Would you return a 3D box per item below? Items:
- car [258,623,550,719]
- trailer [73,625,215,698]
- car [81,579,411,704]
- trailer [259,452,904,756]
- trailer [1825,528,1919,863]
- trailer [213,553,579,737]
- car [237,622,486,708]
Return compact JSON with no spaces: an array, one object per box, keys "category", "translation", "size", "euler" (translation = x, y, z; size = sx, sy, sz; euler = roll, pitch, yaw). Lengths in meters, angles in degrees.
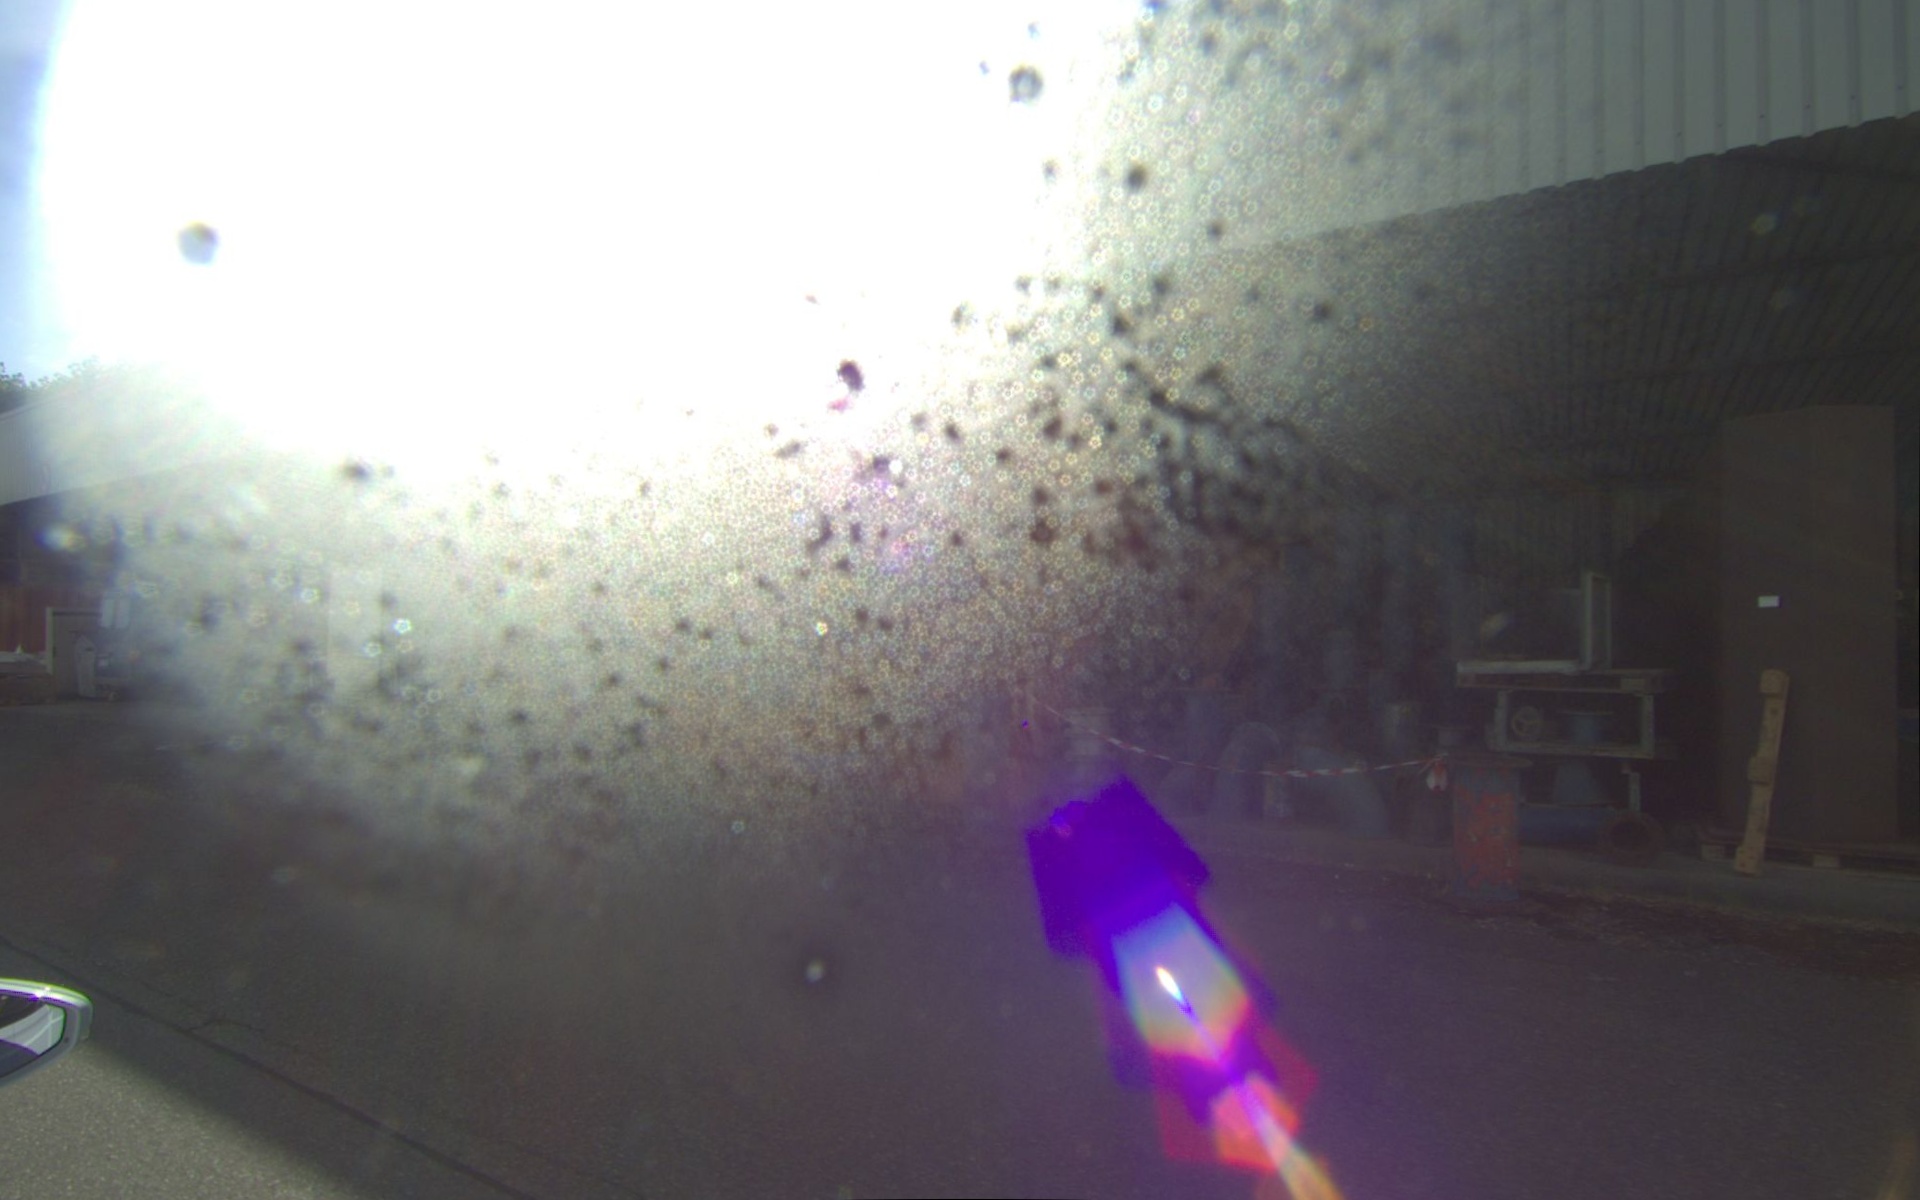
[{"category":"car","translation":[-9.772,1.205,17.968],"size":[1.841,1.490,4.246],"euler":[0,-2,29]},{"category":"trailer","translation":[-17.691,1.295,21.747],"size":[1.715,1.485,2.032],"euler":[-1,-1,36]},{"category":"car","translation":[-14.923,0.892,21.334],"size":[2.121,2.309,5.326],"euler":[-1,-3,31]},{"category":"trailer","translation":[-4.984,0.173,16.253],"size":[2.761,3.386,10.250],"euler":[-1,-1,32]},{"category":"trailer","translation":[7.104,0.576,6.122],"size":[2.133,2.016,4.414],"euler":[-1,-2,33]},{"category":"trailer","translation":[-8.413,0.652,15.374],"size":[2.019,2.372,4.507],"euler":[-1,-2,33]},{"category":"car","translation":[-11.940,1.268,20.245],"size":[1.812,1.533,3.962],"euler":[-1,-3,29]}]
